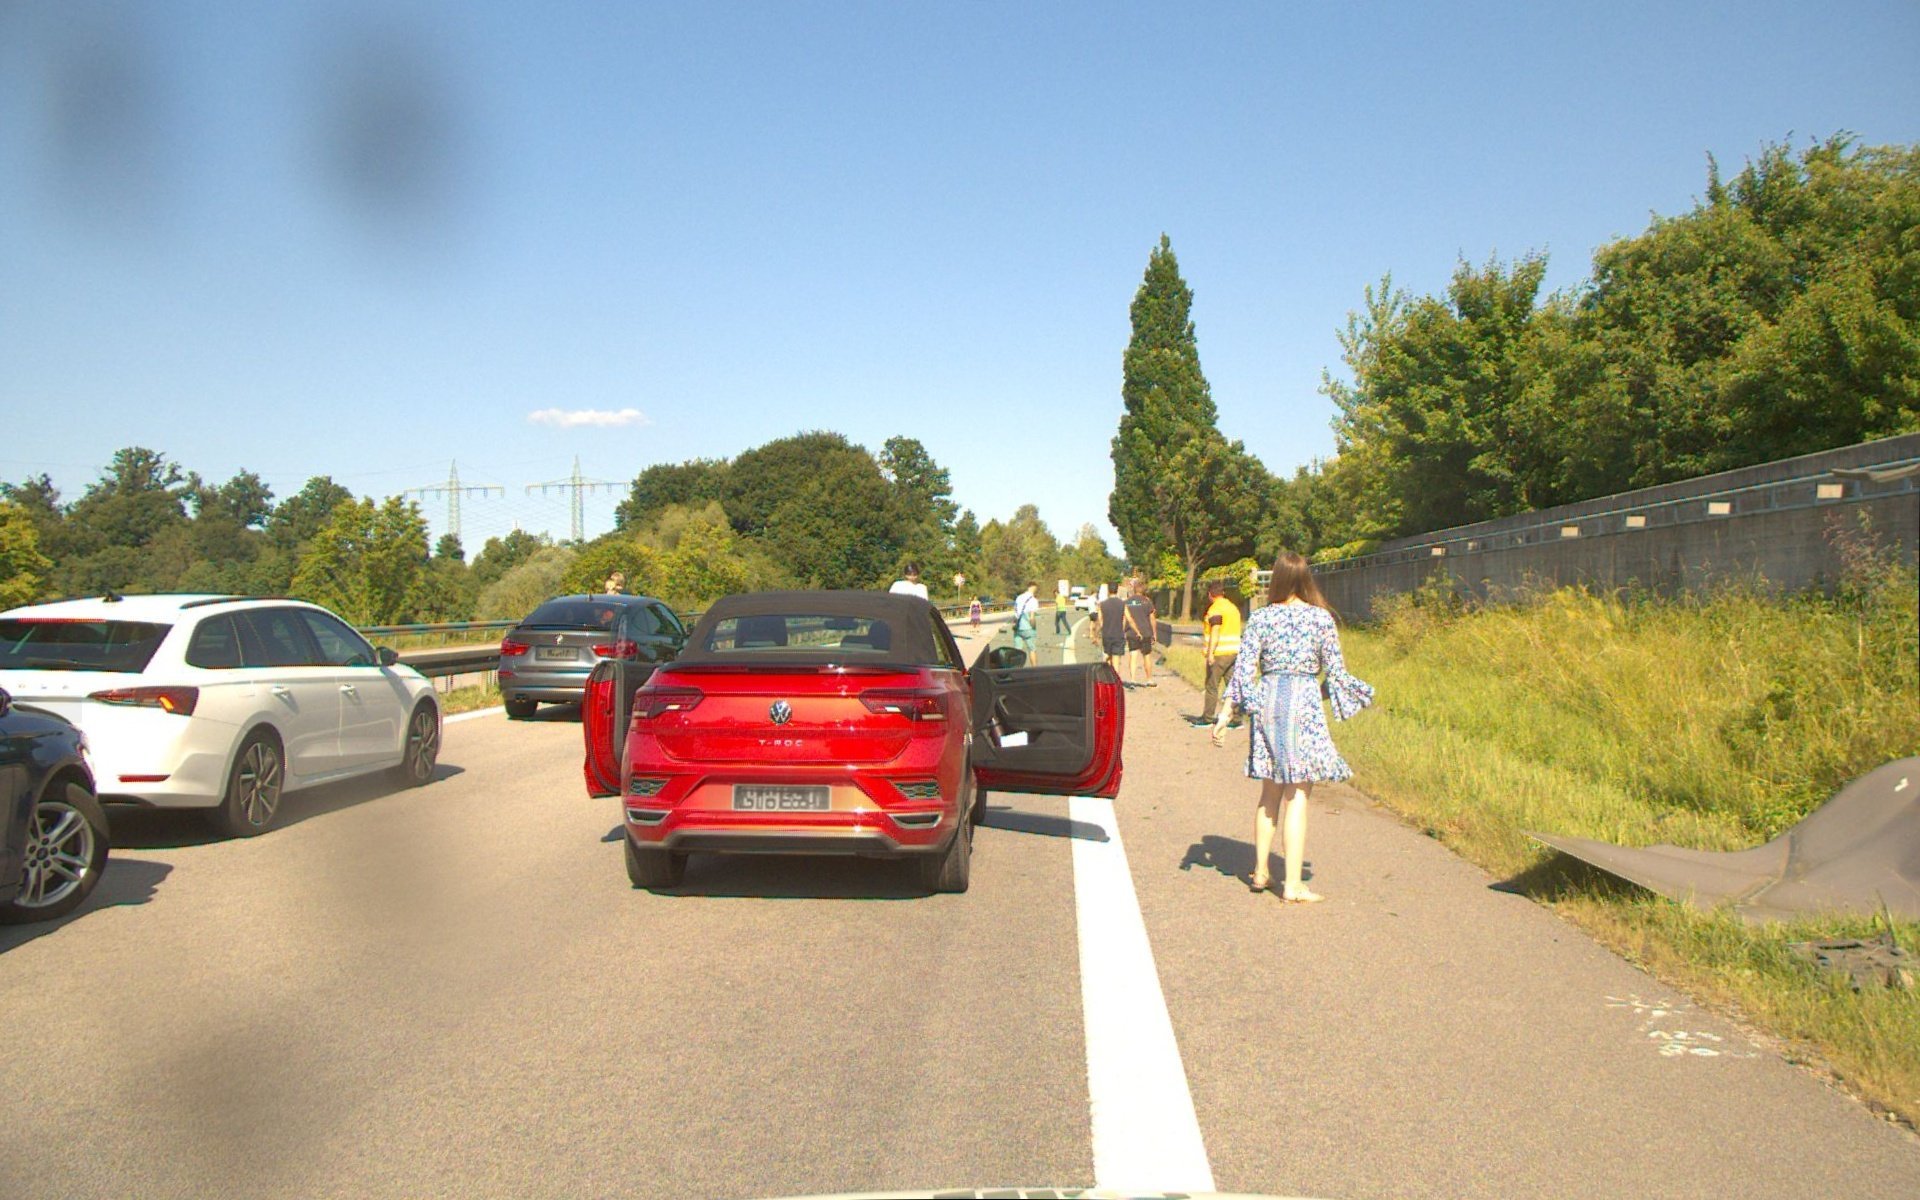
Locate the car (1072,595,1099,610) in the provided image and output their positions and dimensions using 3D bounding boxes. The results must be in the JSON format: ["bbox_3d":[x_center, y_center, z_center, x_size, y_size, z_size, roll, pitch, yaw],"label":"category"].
[{"bbox_3d":[12.782,0.285,168.224,1.696,1.513,4.211,0,0,19],"label":"car"}]

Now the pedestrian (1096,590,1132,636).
[{"bbox_3d":[5.759,0.485,61.824,0.995,1.719,0.991,1,0,-26],"label":"pedestrian"}]

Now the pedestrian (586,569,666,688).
[{"bbox_3d":[-5.539,0.461,27.511,1.043,1.916,1.094,-1,0,2],"label":"pedestrian"}]

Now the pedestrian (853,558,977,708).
[{"bbox_3d":[-0.603,0.424,22.184,1.234,1.946,1.103,-1,0,41],"label":"pedestrian"}]

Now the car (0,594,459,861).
[{"bbox_3d":[-4.993,0.700,11.311,1.659,1.467,4.212,0,0,3],"label":"car"}]

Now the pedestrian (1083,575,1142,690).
[{"bbox_3d":[2.383,0.504,25.966,0.876,1.755,0.755,1,0,3],"label":"pedestrian"}]

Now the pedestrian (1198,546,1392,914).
[{"bbox_3d":[1.690,0.612,8.375,0.871,1.725,1.129,-1,0,11],"label":"pedestrian"}]

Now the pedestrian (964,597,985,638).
[{"bbox_3d":[0.616,0.724,68.765,0.774,1.719,0.793,1,0,8],"label":"pedestrian"}]

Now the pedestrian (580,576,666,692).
[{"bbox_3d":[-5.348,0.532,26.307,1.091,1.794,1.044,-1,0,2],"label":"pedestrian"}]

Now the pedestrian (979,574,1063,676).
[{"bbox_3d":[1.115,0.452,30.359,1.079,1.820,1.094,1,0,-35],"label":"pedestrian"}]

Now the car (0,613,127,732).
[{"bbox_3d":[-12.909,0.931,21.485,1.659,1.451,4.308,0,0,6],"label":"car"}]

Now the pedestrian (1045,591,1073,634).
[{"bbox_3d":[4.041,0.519,67.493,0.992,1.719,1.060,1,0,9],"label":"pedestrian"}]

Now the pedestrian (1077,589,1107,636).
[{"bbox_3d":[4.946,0.469,62.168,1.090,1.719,0.973,1,0,3],"label":"pedestrian"}]

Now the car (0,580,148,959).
[{"bbox_3d":[-4.656,0.694,5.790,1.753,1.519,4.488,-1,0,-6],"label":"car"}]

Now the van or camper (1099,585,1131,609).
[{"bbox_3d":[15.125,-0.284,161.245,1.952,2.356,4.471,0,0,20],"label":"van or camper"}]

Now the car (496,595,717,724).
[{"bbox_3d":[-4.355,0.669,21.034,1.659,1.451,4.335,0,0,3],"label":"car"}]

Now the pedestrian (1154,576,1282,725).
[{"bbox_3d":[3.035,0.574,19.395,1.248,1.682,0.960,-1,0,25],"label":"pedestrian"}]

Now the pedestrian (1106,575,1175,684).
[{"bbox_3d":[3.021,0.490,27.733,0.805,1.790,0.817,1,-1,-36],"label":"pedestrian"}]

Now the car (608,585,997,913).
[{"bbox_3d":[-0.695,0.685,9.852,1.696,1.513,4.212,0,0,3],"label":"car"}]
